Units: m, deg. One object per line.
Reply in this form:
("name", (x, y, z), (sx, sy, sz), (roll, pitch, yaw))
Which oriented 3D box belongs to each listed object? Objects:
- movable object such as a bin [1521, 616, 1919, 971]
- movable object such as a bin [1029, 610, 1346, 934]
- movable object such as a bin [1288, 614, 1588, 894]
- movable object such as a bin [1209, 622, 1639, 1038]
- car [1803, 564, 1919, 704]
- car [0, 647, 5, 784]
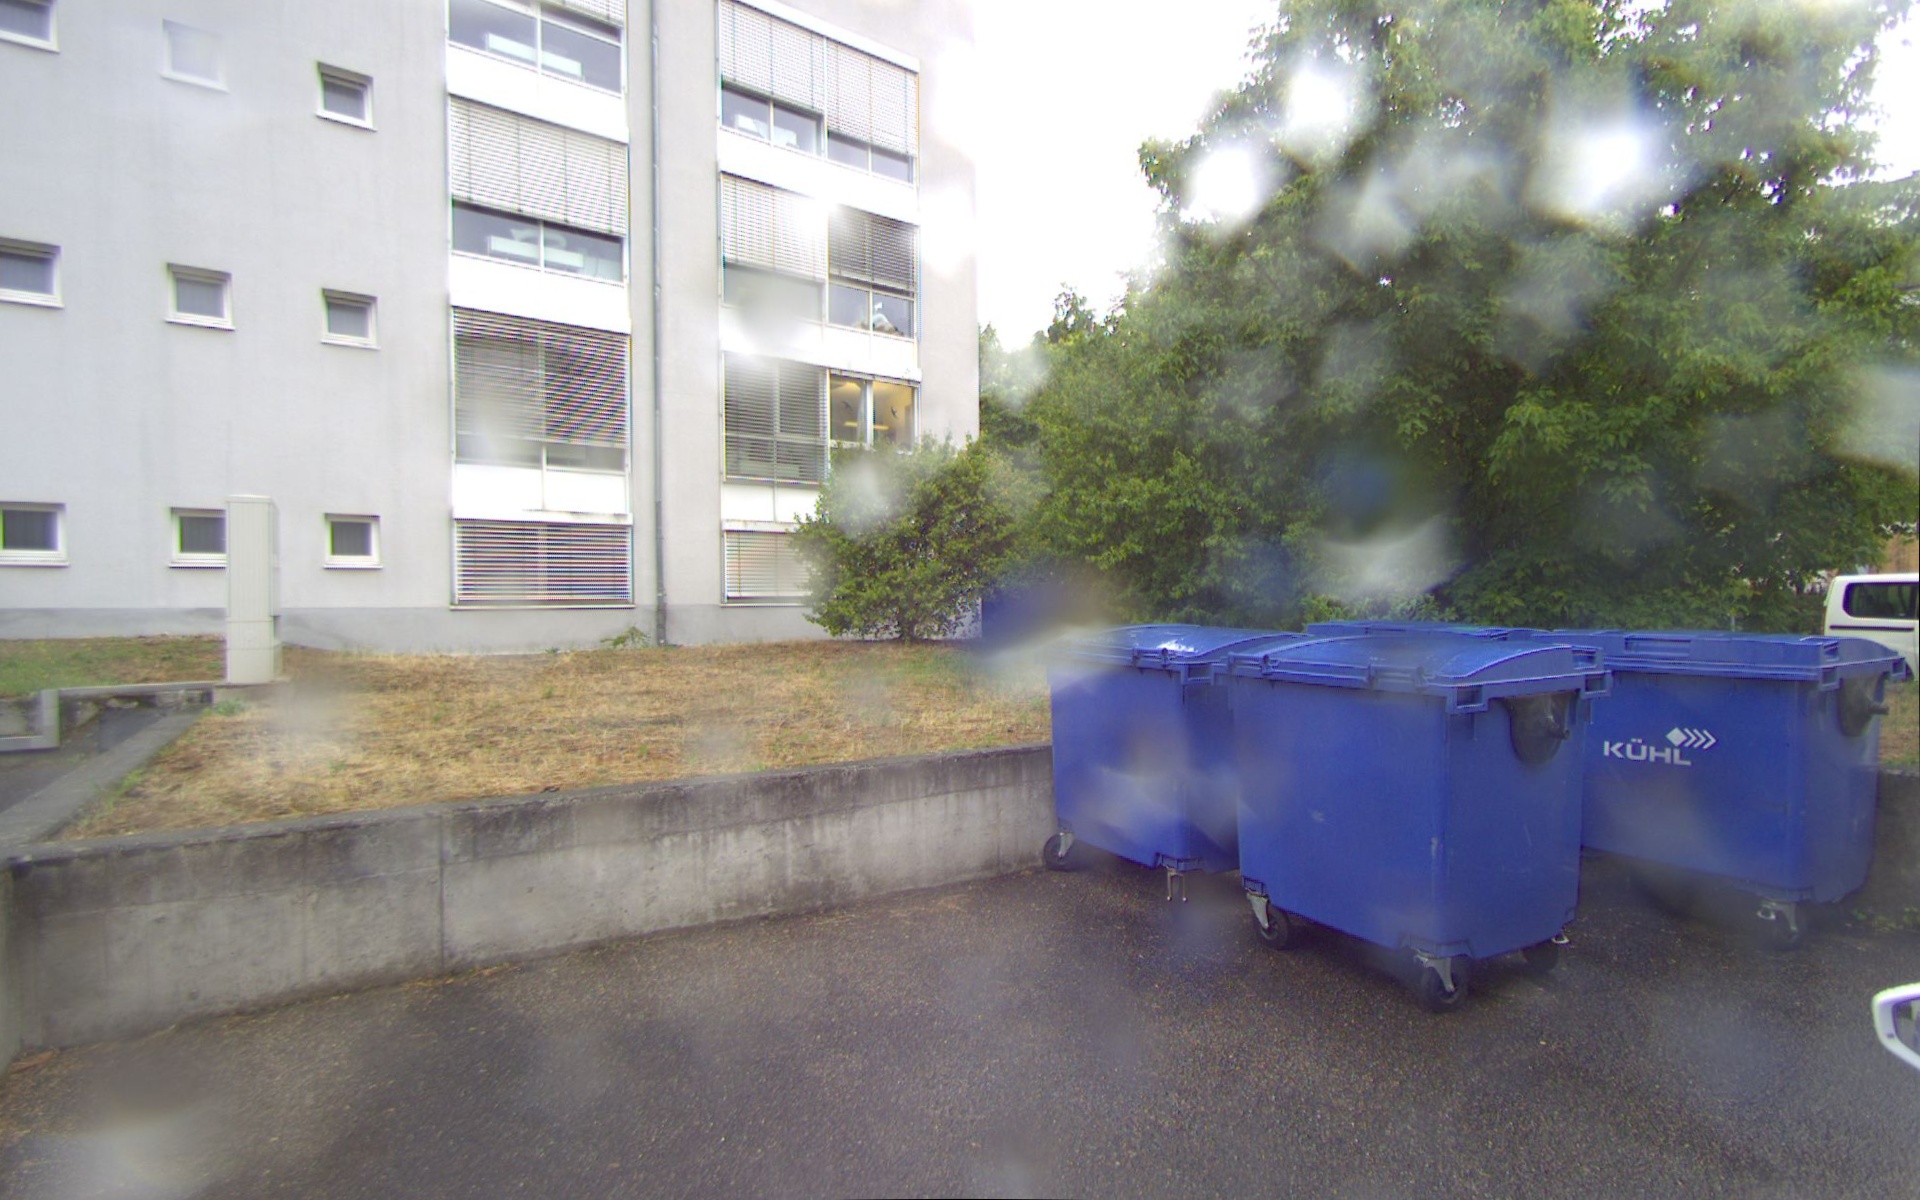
("movable object such as a bin", (3.511, 0.771, 4.709), (0.995, 1.355, 1.215), (-1, 1, -31))
("movable object such as a bin", (1.160, 0.777, 5.258), (1.104, 1.355, 1.196), (-3, 3, -31))
("movable object such as a bin", (2.723, 0.782, 5.804), (0.995, 1.355, 1.215), (-2, 1, -31))
("movable object such as a bin", (1.849, 0.785, 4.136), (1.102, 1.355, 1.198), (0, 0, -27))
("car", (15.404, 0.467, 14.347), (1.976, 2.040, 4.758), (-1, 0, -30))
("car", (-6.610, 0.750, 5.157), (1.804, 1.351, 4.138), (-1, 3, -35))
